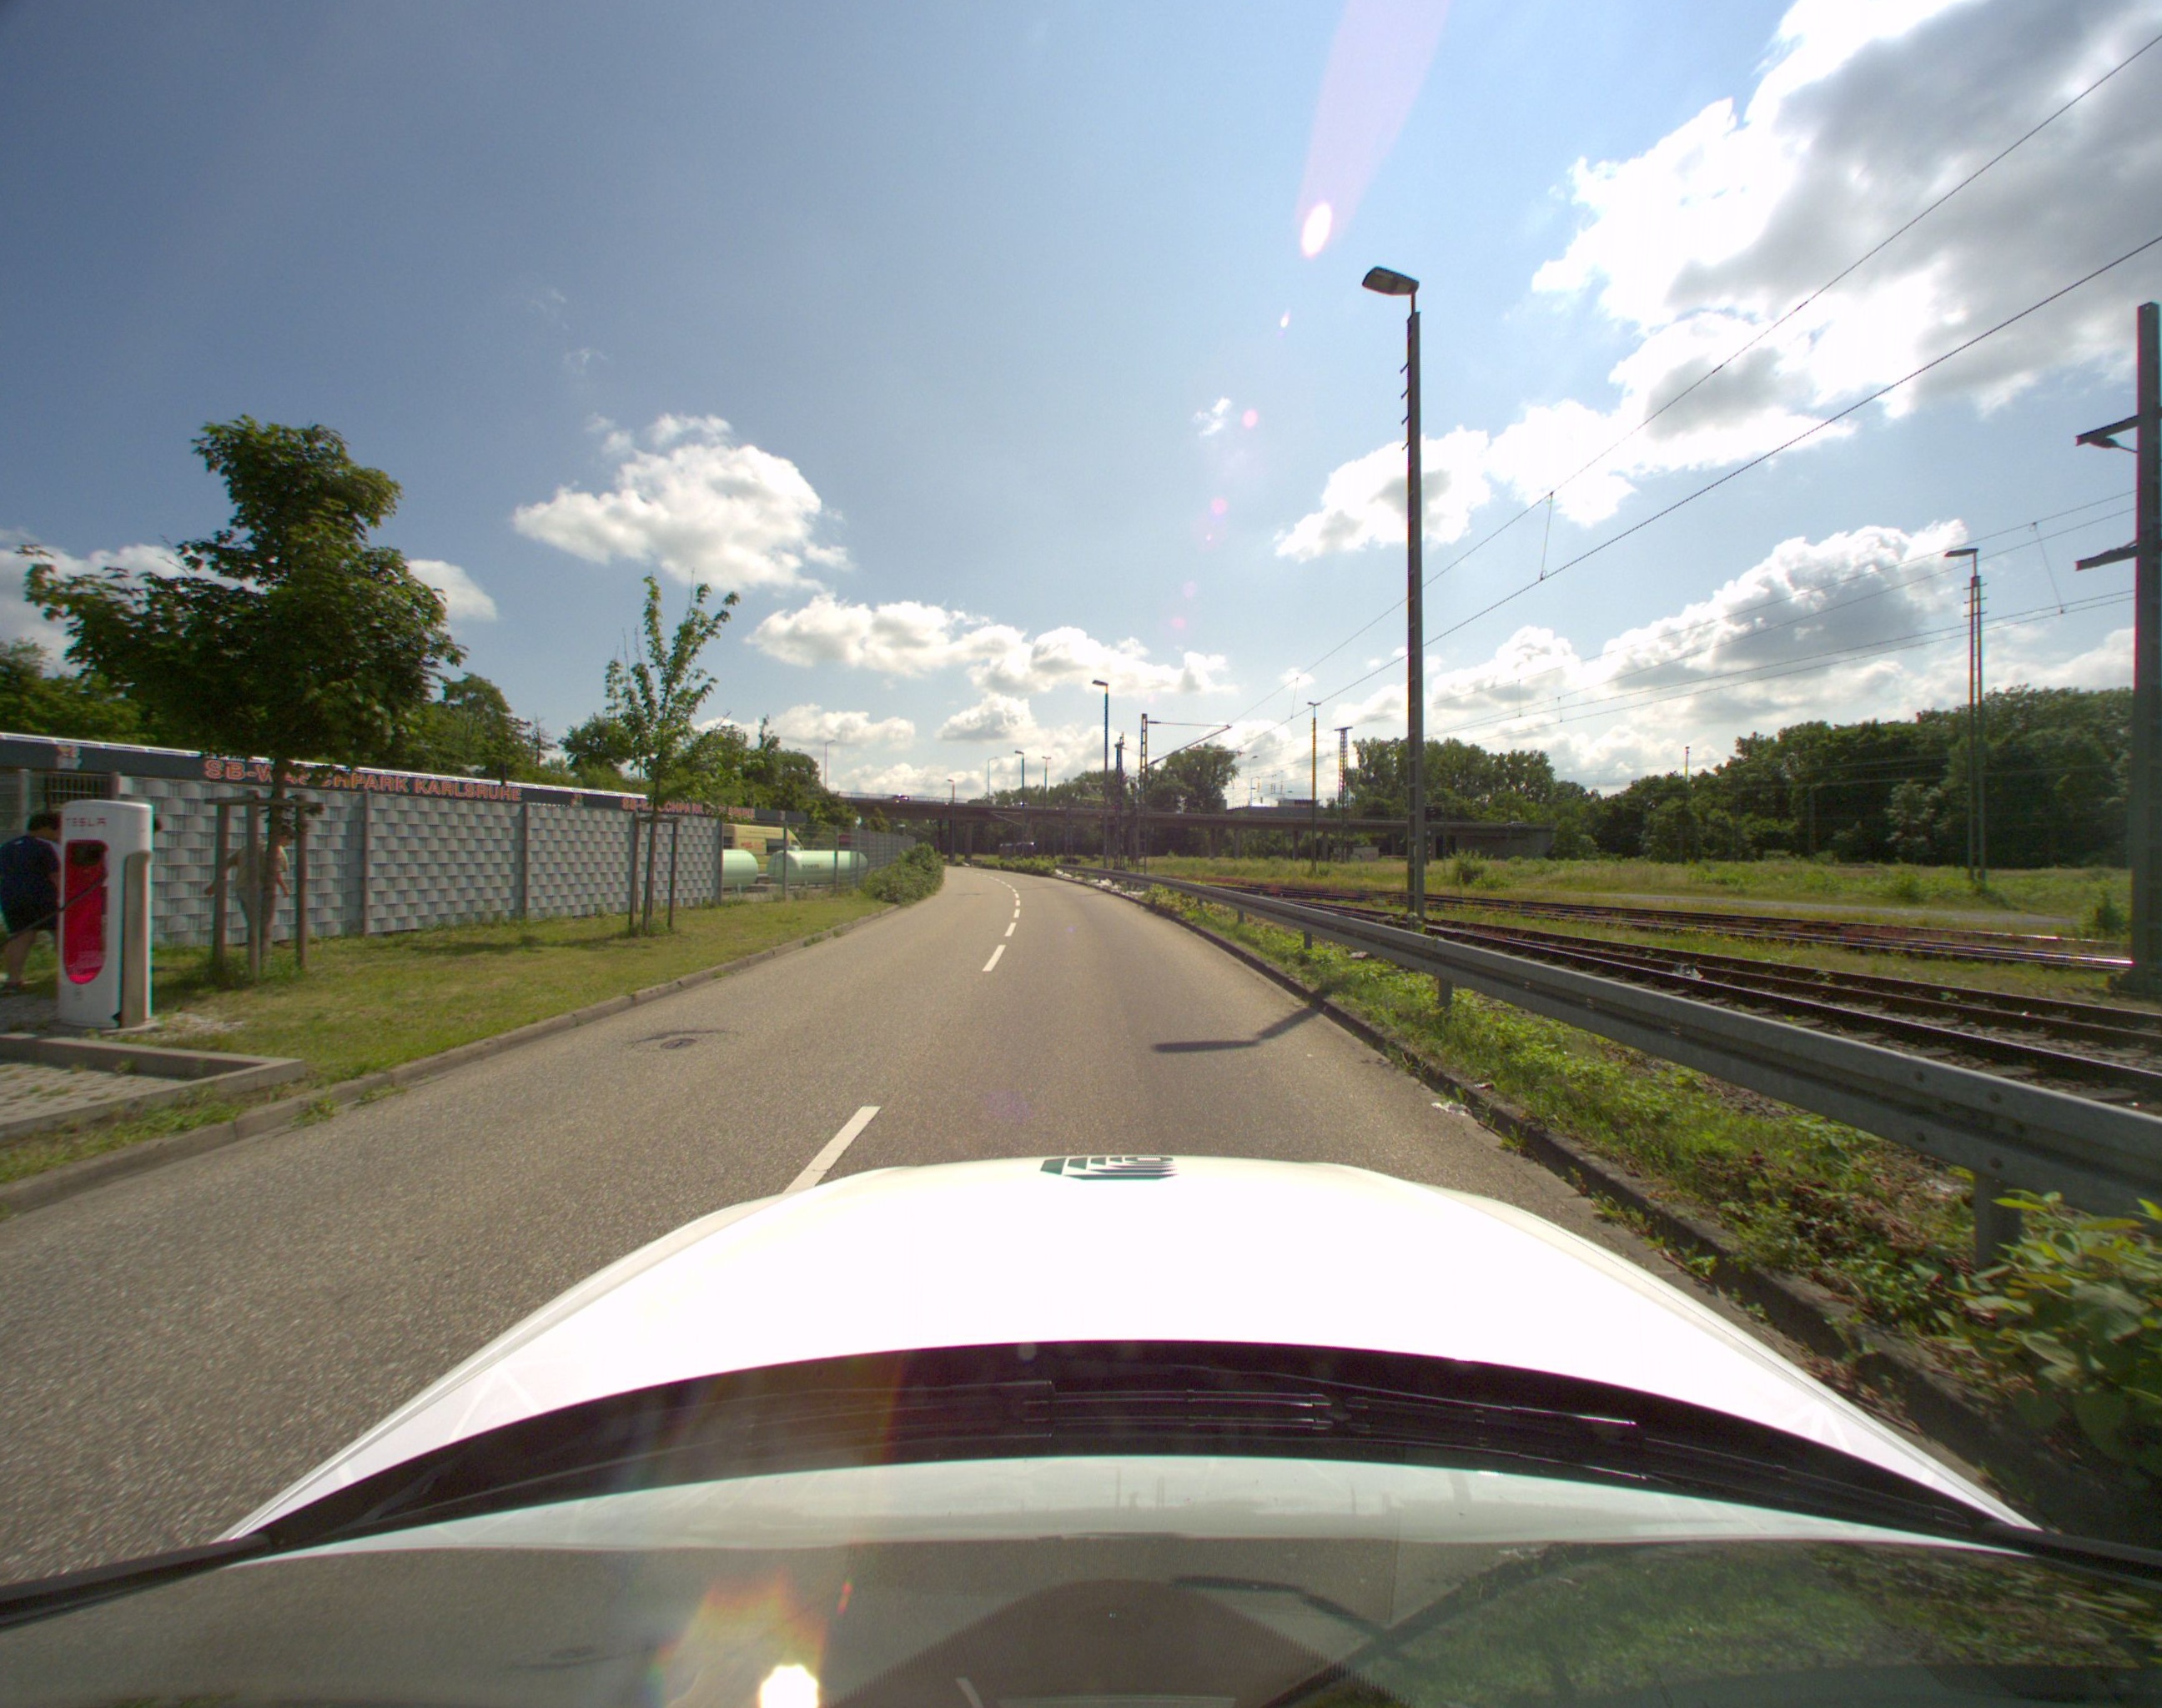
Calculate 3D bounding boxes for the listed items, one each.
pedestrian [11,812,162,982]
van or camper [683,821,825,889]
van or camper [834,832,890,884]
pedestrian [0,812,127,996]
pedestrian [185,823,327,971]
[{"bbox_3d":[-9.736,0.404,8.013,0.716,1.565,0.751,1,-1,-33],"label":"pedestrian"},{"bbox_3d":[-12.662,0.064,32.079,2.226,2.425,5.681,0,-1,15],"label":"van or camper"},{"bbox_3d":[-11.414,0.187,42.864,2.188,2.514,5.684,-2,0,-9],"label":"van or camper"},{"bbox_3d":[-9.350,0.435,7.382,0.725,1.579,0.706,1,-1,-34],"label":"pedestrian"},{"bbox_3d":[-9.095,0.453,9.009,0.732,1.542,0.819,0,-1,14],"label":"pedestrian"}]
